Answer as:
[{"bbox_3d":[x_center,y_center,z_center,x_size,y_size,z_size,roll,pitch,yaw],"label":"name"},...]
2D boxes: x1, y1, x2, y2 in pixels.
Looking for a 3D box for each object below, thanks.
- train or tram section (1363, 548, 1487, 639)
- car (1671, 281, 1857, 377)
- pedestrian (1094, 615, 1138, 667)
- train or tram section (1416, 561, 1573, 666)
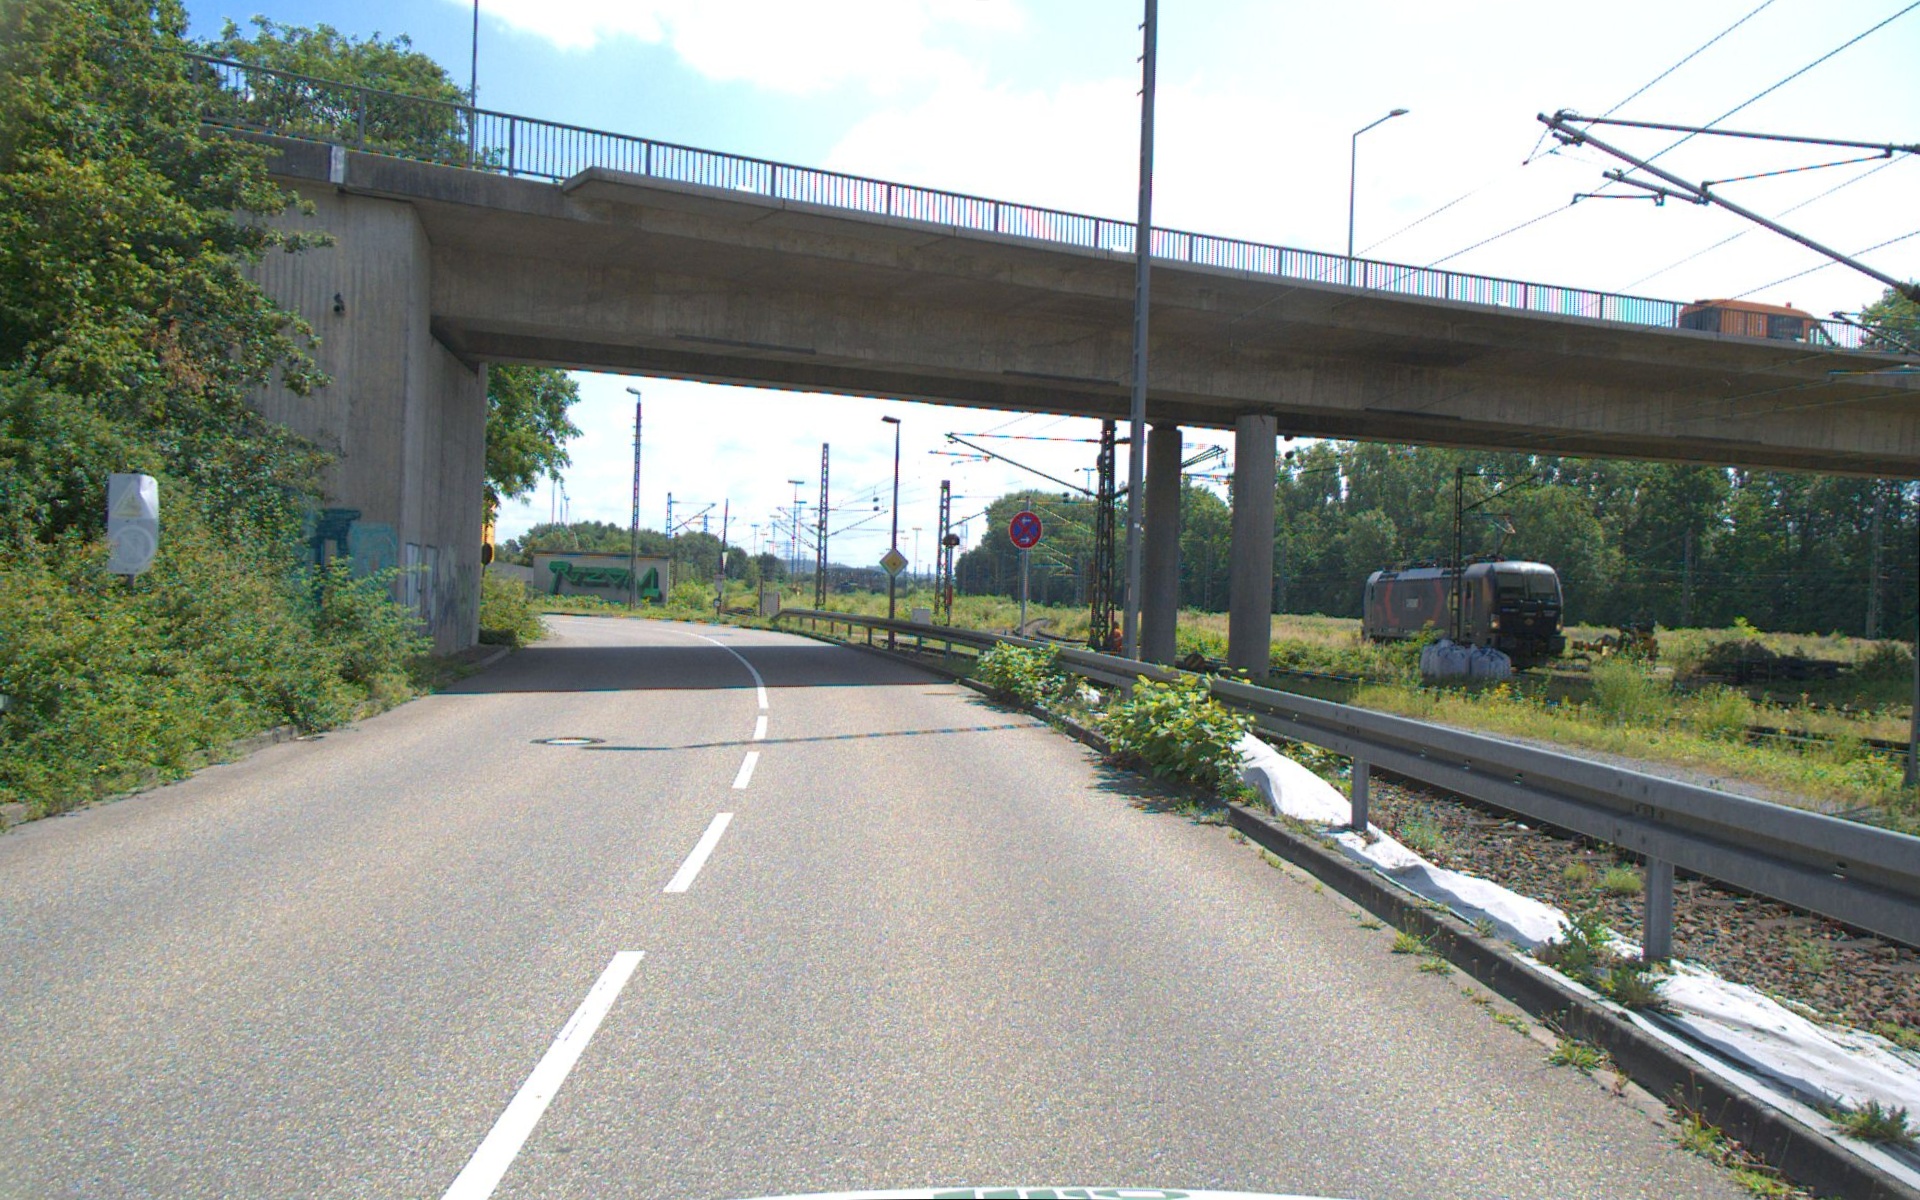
[{"bbox_3d":[19.510,-0.208,69.950,2.700,3.538,8.236,2,-1,-1],"label":"train or tram section"},{"bbox_3d":[23.204,-7.764,47.724,5.252,2.049,1.984,0,-1,-26],"label":"car"},{"bbox_3d":[4.851,1.273,51.534,1.088,1.567,1.578,2,-1,-4],"label":"pedestrian"},{"bbox_3d":[19.684,0.501,61.527,2.832,3.570,8.562,2,-1,-1],"label":"train or tram section"}]
